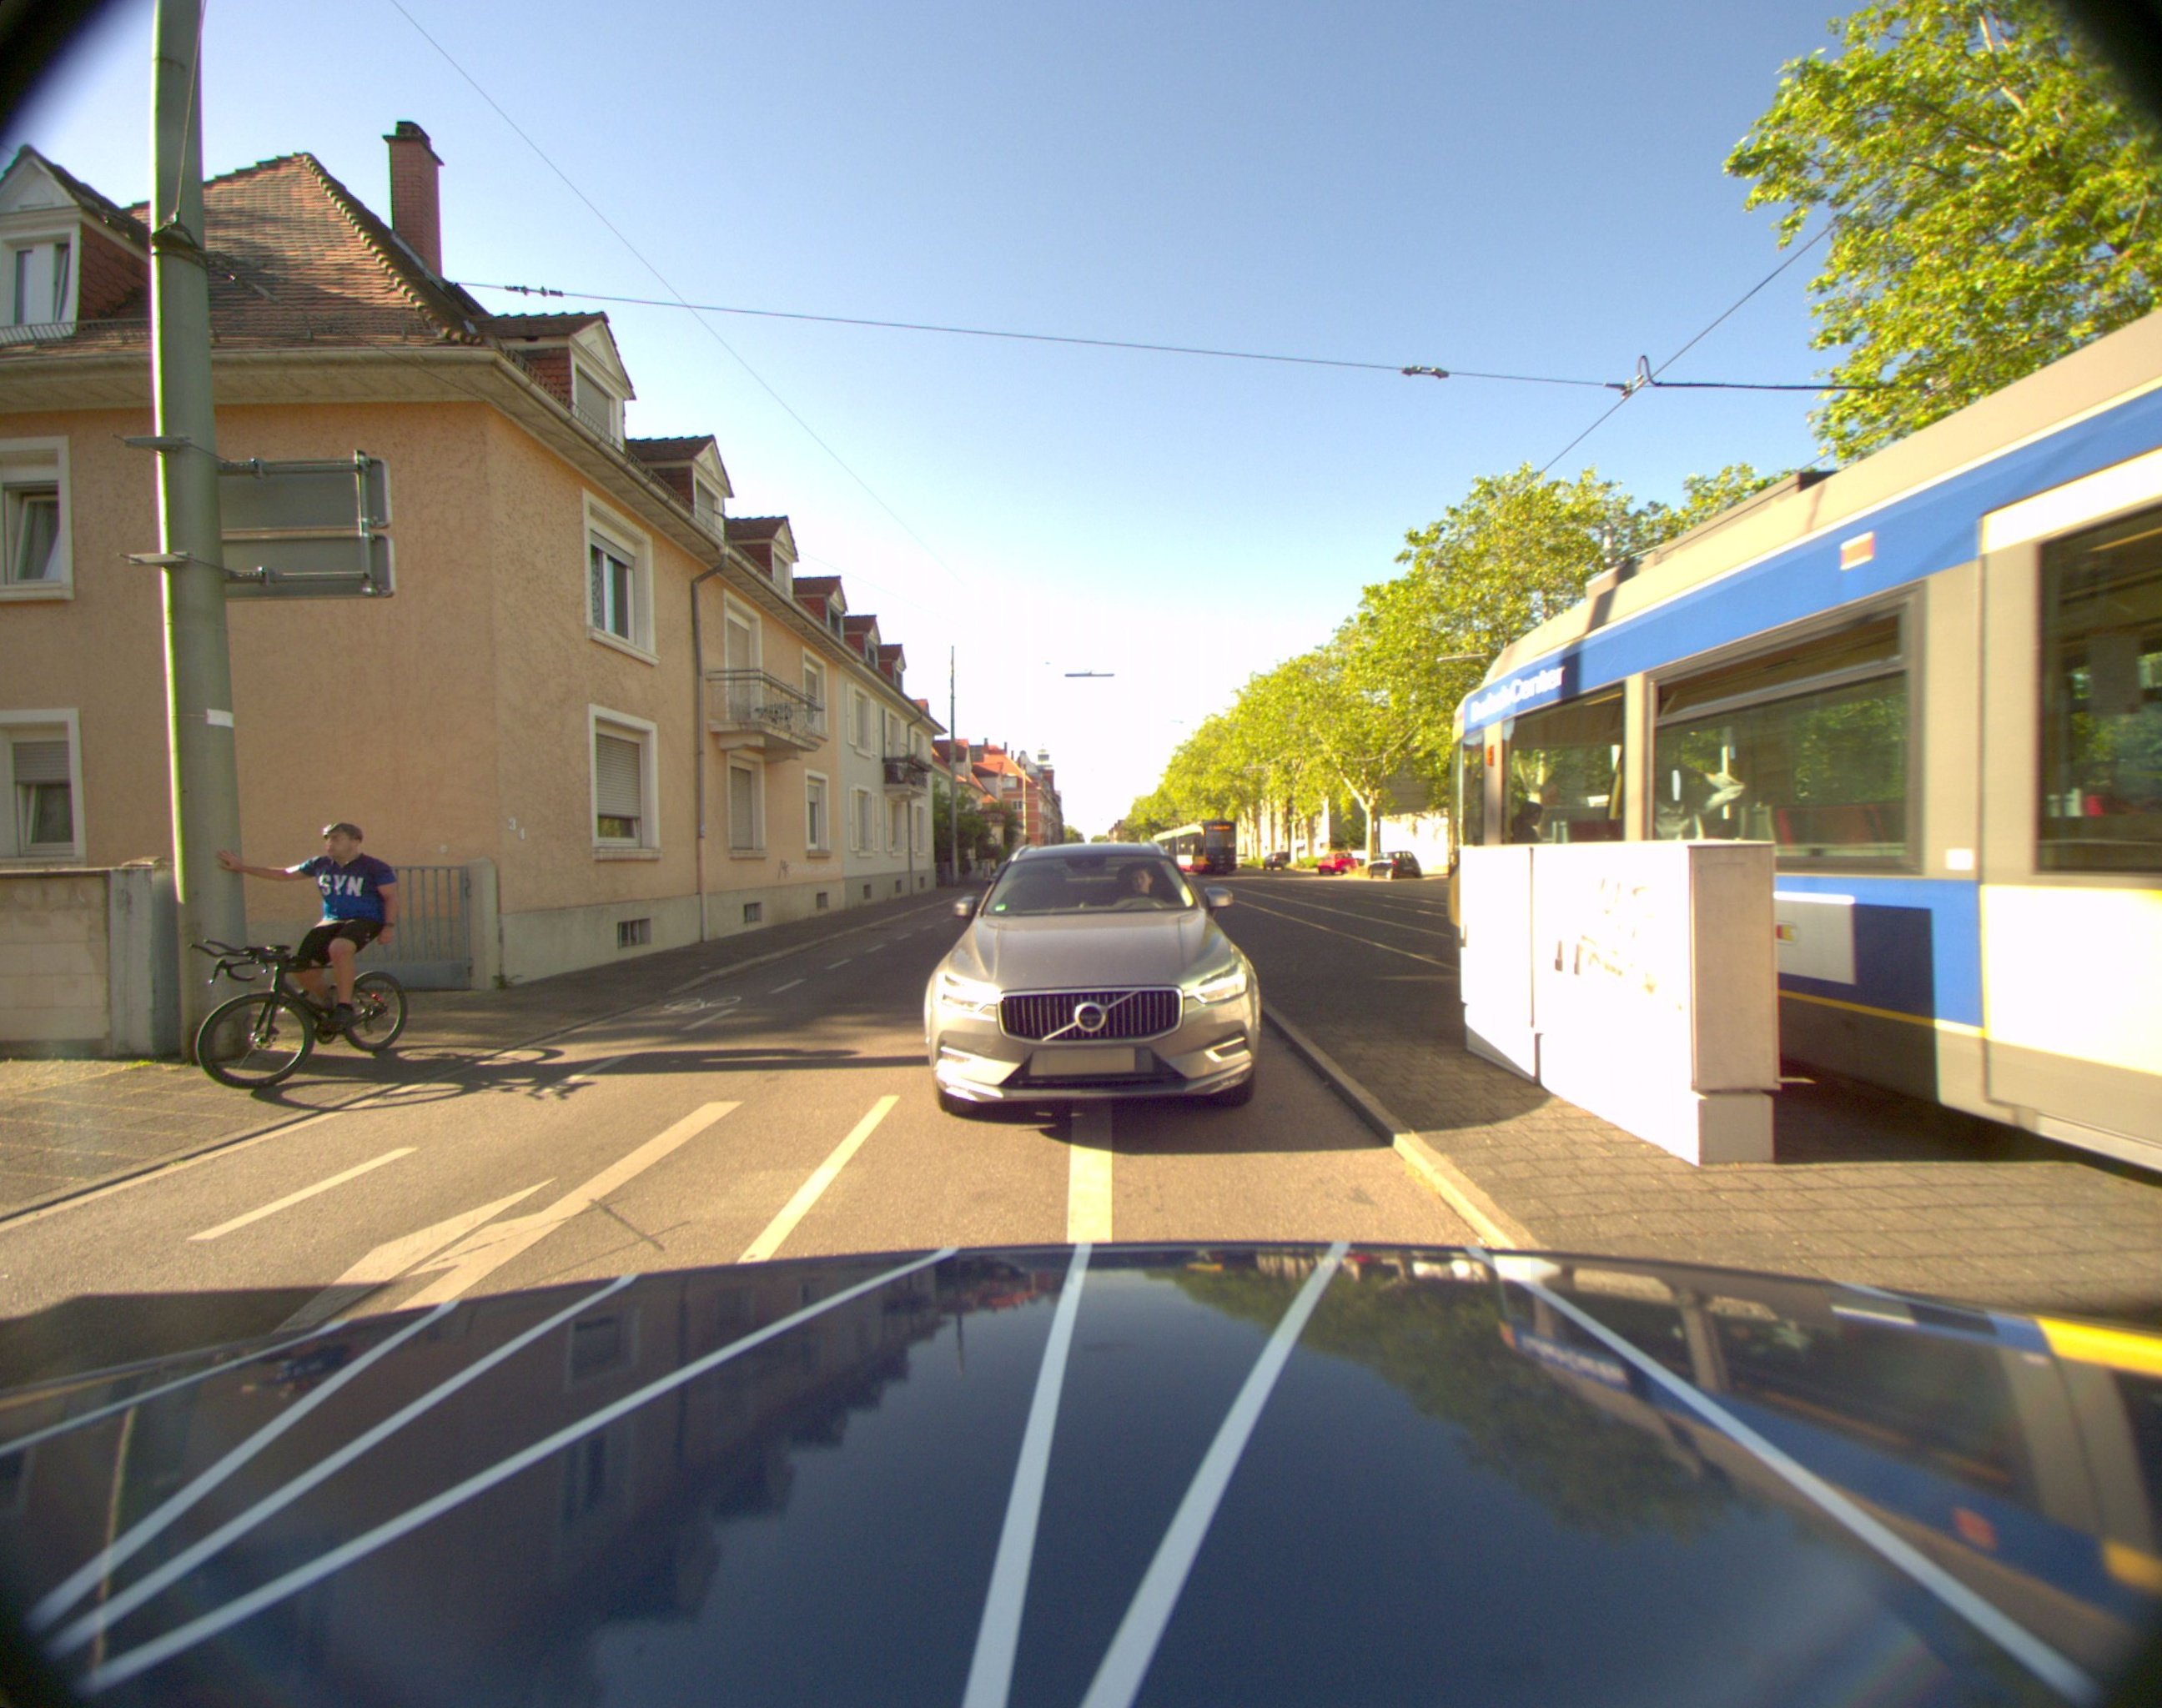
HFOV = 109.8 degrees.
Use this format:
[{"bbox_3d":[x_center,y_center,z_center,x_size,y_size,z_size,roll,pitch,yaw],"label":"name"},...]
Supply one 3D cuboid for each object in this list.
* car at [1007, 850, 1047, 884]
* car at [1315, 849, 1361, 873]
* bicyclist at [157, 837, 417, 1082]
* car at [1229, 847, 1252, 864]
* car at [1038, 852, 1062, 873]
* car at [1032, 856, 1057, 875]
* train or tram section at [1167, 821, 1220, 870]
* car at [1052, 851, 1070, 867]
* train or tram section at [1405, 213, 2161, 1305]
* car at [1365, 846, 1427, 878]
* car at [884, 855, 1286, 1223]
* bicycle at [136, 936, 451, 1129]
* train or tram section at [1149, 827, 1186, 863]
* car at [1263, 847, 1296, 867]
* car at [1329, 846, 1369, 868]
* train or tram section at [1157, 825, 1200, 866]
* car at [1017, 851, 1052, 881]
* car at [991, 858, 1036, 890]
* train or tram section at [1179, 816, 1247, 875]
[{"bbox_3d":[-2.961,0.684,42.364,1.847,1.742,4.144,-1,0,0],"label":"car"},{"bbox_3d":[16.965,0.452,50.319,1.845,1.400,4.001,-4,0,3],"label":"car"},{"bbox_3d":[-6.173,0.769,5.976,1.071,1.728,0.853,4,1,1],"label":"bicyclist"},{"bbox_3d":[17.496,0.124,83.552,1.845,1.664,4.098,-4,0,3],"label":"car"},{"bbox_3d":[-2.671,0.692,65.779,1.847,1.681,4.000,-1,0,0],"label":"car"},{"bbox_3d":[-2.875,0.858,60.415,1.808,1.402,3.999,-1,0,-1],"label":"car"},{"bbox_3d":[8.860,-0.682,61.184,2.843,3.456,10.182,-2,1,1],"label":"train or tram section"},{"bbox_3d":[-2.238,0.548,85.493,1.999,1.641,4.658,-1,0,-1],"label":"car"},{"bbox_3d":[4.909,-0.317,4.365,2.821,3.479,7.962,-1,0,1],"label":"train or tram section"},{"bbox_3d":[16.969,0.415,41.095,1.845,1.524,4.001,-4,0,4],"label":"car"},{"bbox_3d":[0.002,0.889,5.797,1.892,1.695,4.318,-1,0,-1],"label":"car"},{"bbox_3d":[-5.932,1.276,5.892,0.594,1.045,1.719,4,1,1],"label":"bicycle"},{"bbox_3d":[9.152,-0.945,81.458,2.843,3.456,10.182,-2,1,1],"label":"train or tram section"},{"bbox_3d":[17.173,0.231,65.904,1.845,1.607,4.098,-4,0,3],"label":"car"},{"bbox_3d":[20.463,0.221,58.222,1.754,1.582,3.661,-3,0,1],"label":"car"},{"bbox_3d":[9.008,-0.829,71.340,2.843,3.456,10.182,-2,1,1],"label":"train or tram section"},{"bbox_3d":[-2.799,0.700,46.641,1.847,1.681,4.000,-1,0,0],"label":"car"},{"bbox_3d":[-3.227,0.944,36.986,1.847,1.412,3.999,-1,0,-1],"label":"car"},{"bbox_3d":[8.632,-0.564,50.985,2.862,3.456,10.182,-2,1,1],"label":"train or tram section"}]
